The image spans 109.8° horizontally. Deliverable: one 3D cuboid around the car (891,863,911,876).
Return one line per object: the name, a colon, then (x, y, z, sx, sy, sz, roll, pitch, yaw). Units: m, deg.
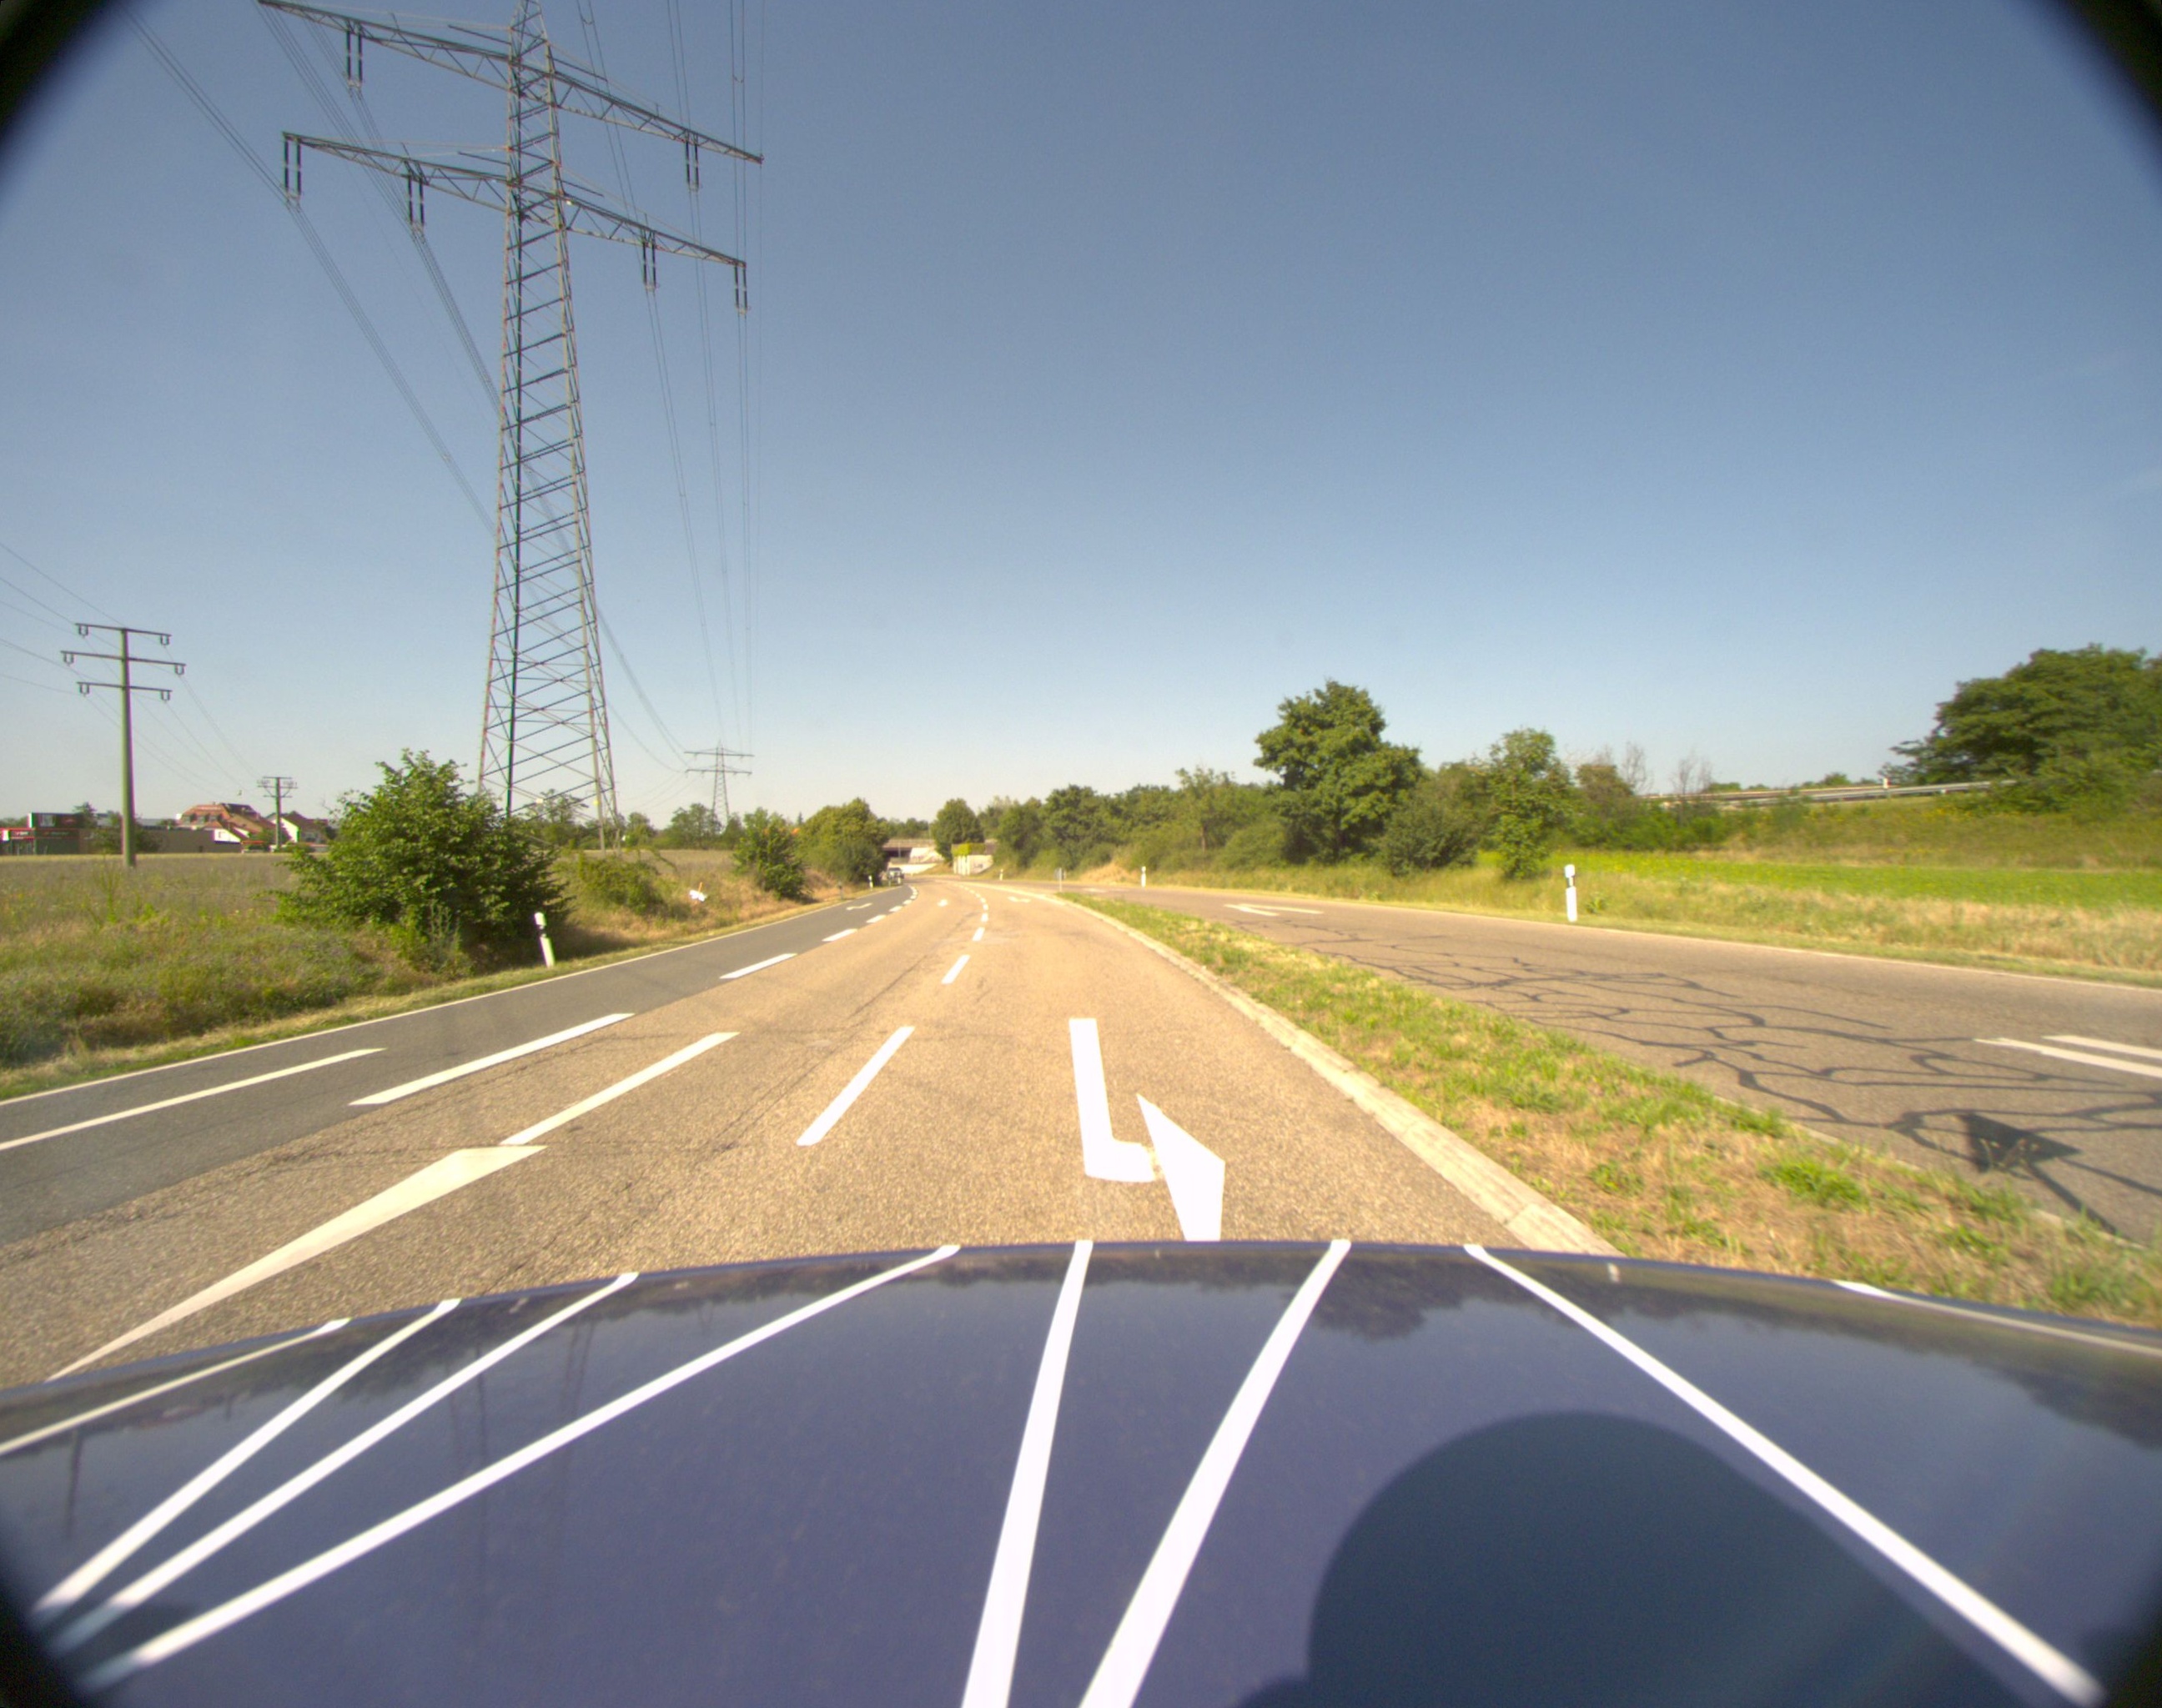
car: (-24.048, 2.042, 101.597, 1.863, 1.609, 3.640, -2, 0, -25)
